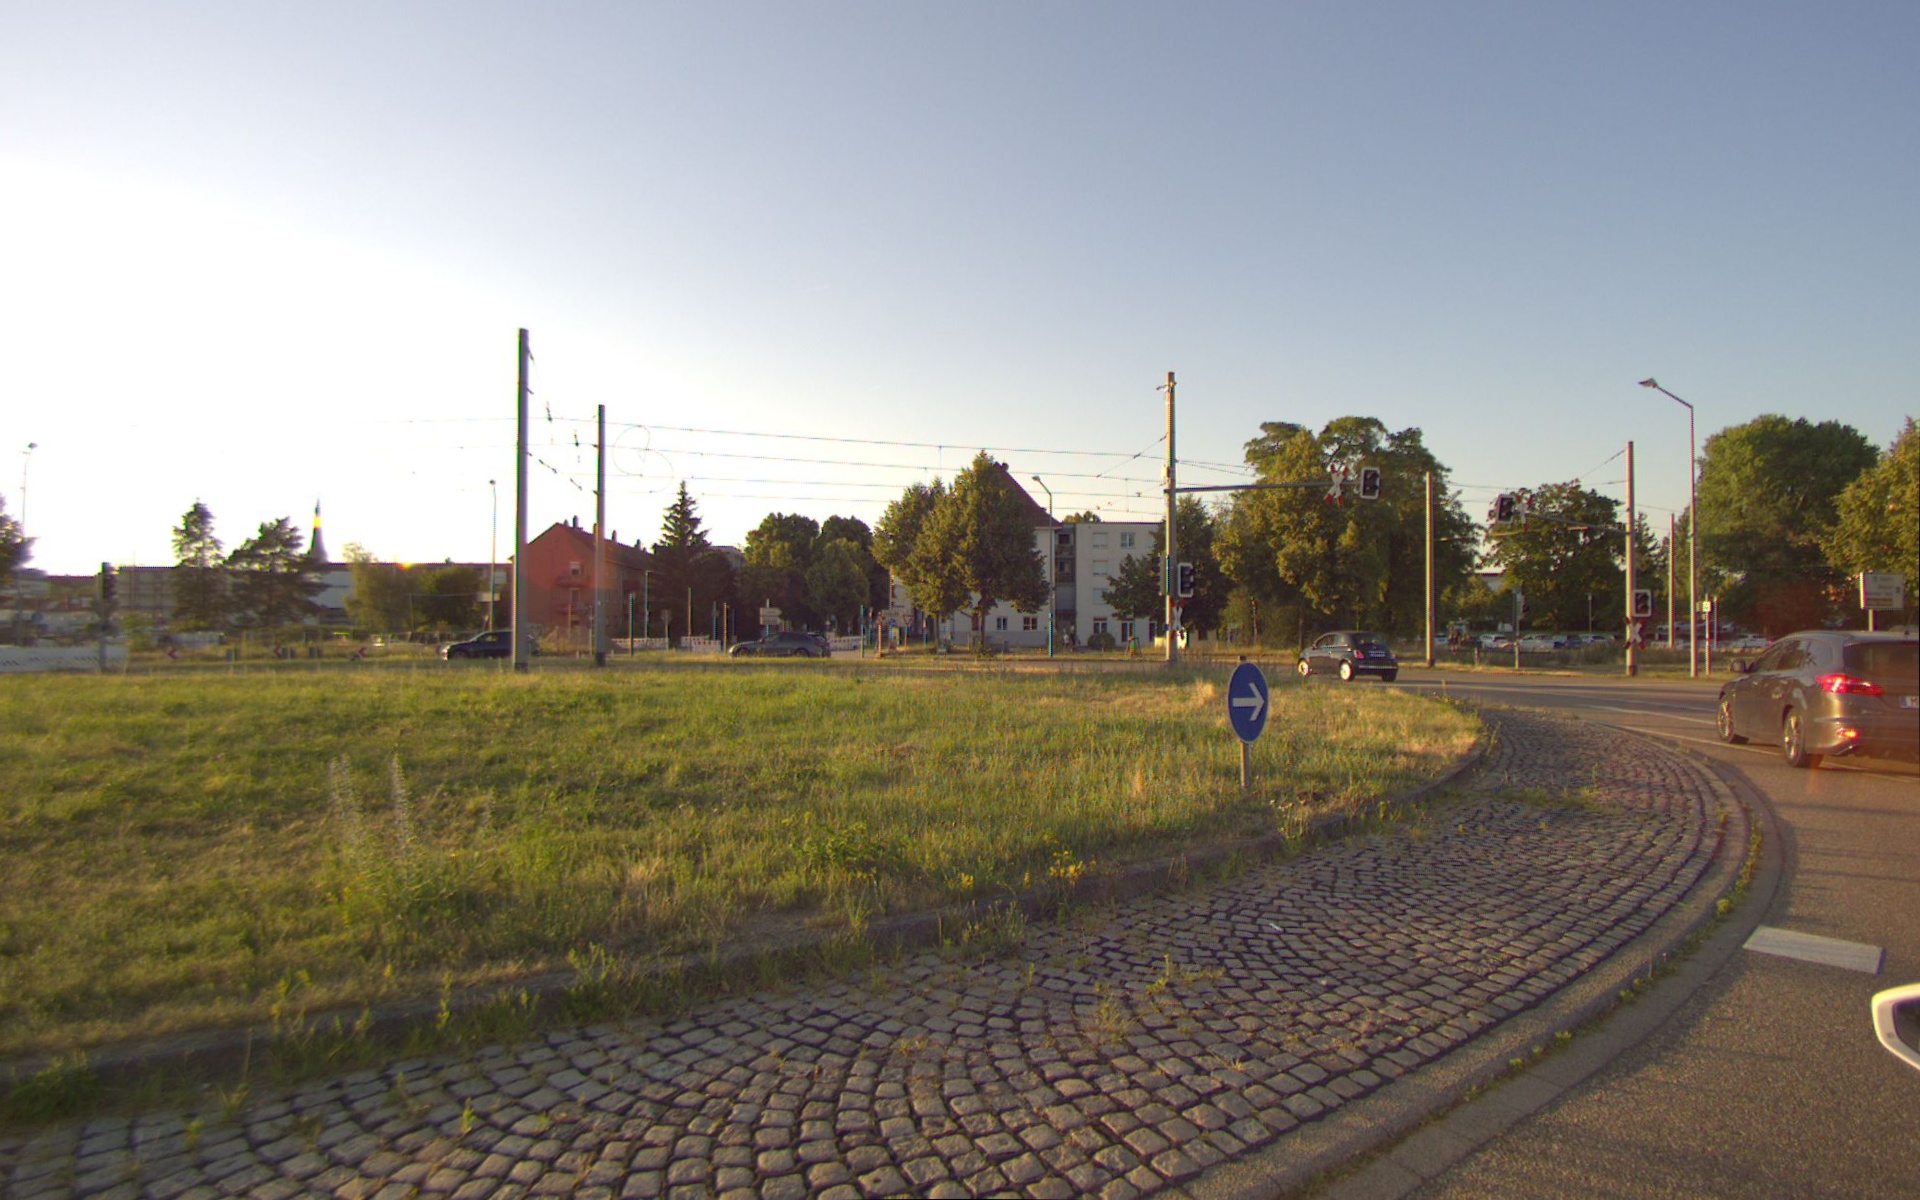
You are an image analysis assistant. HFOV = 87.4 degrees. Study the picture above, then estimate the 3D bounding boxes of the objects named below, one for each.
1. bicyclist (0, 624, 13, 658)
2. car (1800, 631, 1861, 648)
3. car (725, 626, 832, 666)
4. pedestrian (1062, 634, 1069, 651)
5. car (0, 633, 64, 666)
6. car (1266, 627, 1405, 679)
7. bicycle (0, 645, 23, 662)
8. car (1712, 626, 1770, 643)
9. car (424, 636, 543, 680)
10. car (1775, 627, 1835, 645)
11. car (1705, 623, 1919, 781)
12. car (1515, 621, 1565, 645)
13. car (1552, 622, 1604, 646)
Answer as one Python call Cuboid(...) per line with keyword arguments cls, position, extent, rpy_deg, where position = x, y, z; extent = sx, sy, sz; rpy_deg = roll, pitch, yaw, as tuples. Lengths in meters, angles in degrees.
Cuboid(cls="bicyclist", position=(-47.194, 2.019, 49.346), extent=(0.788, 1.655, 0.691), rpy_deg=(0, -2, -26))
Cuboid(cls="car", position=(80.476, 3.631, 92.972), extent=(1.962, 1.571, 3.996), rpy_deg=(0, -1, -6))
Cuboid(cls="car", position=(-8.302, 2.100, 46.210), extent=(4.504, 1.771, 1.753), rpy_deg=(-1, -1, 7))
Cuboid(cls="pedestrian", position=(8.663, 3.481, 82.552), extent=(0.538, 1.392, 0.357), rpy_deg=(0, -1, -11))
Cuboid(cls="car", position=(-39.818, 2.074, 41.591), extent=(3.715, 1.272, 1.576), rpy_deg=(-1, 0, -12))
Cuboid(cls="car", position=(11.457, 1.592, 30.952), extent=(1.725, 1.465, 4.115), rpy_deg=(0, -2, -21))
Cuboid(cls="bicycle", position=(-47.468, 2.642, 49.300), extent=(2.107, 0.857, 0.509), rpy_deg=(0, -2, -27))
Cuboid(cls="car", position=(71.493, 3.144, 92.032), extent=(1.962, 1.571, 3.996), rpy_deg=(0, -1, -6))
Cuboid(cls="car", position=(-20.834, 2.509, 44.095), extent=(4.525, 1.771, 1.745), rpy_deg=(0, -1, -19))
Cuboid(cls="car", position=(78.267, 3.314, 93.074), extent=(1.962, 1.571, 3.996), rpy_deg=(0, -1, -6))
Cuboid(cls="car", position=(10.076, 1.021, 11.436), extent=(1.718, 1.486, 4.131), rpy_deg=(-1, -2, 25))
Cuboid(cls="car", position=(52.377, 2.957, 90.790), extent=(1.962, 2.126, 3.997), rpy_deg=(0, -1, -5))
Cuboid(cls="car", position=(55.819, 3.084, 90.842), extent=(1.962, 2.126, 3.997), rpy_deg=(0, -1, -5))
